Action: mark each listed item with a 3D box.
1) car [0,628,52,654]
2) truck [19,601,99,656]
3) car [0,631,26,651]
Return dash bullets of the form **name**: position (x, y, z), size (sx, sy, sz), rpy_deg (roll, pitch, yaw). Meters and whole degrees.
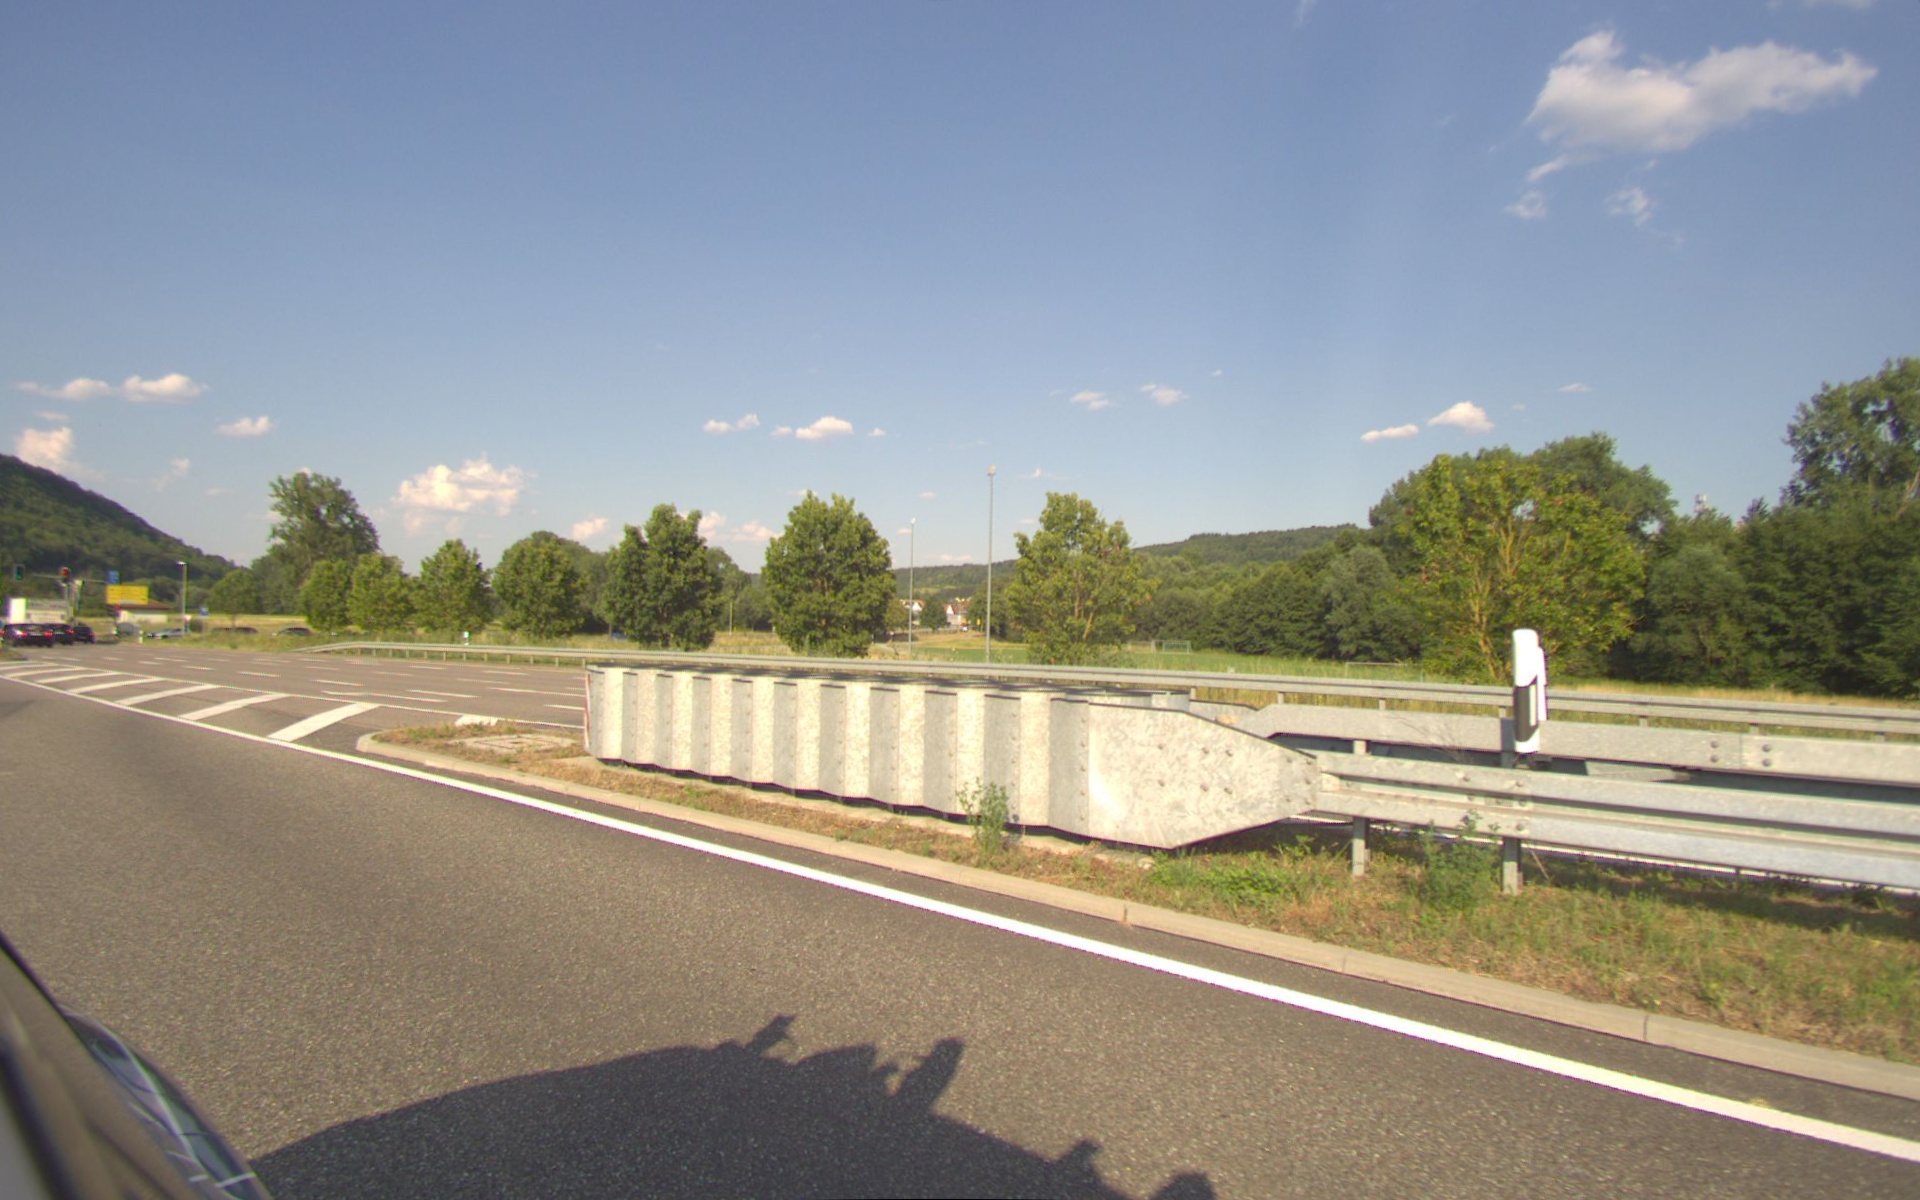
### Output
- **car**: position (-55.862, 2.447, 60.460), size (4.722, 1.475, 1.698), rpy_deg (-2, -5, 40)
- **truck**: position (-66.173, 2.070, 74.225), size (10.494, 3.718, 2.902), rpy_deg (0, -4, 41)
- **car**: position (-65.304, 2.803, 69.002), size (4.814, 1.293, 1.685), rpy_deg (-2, -4, 40)
